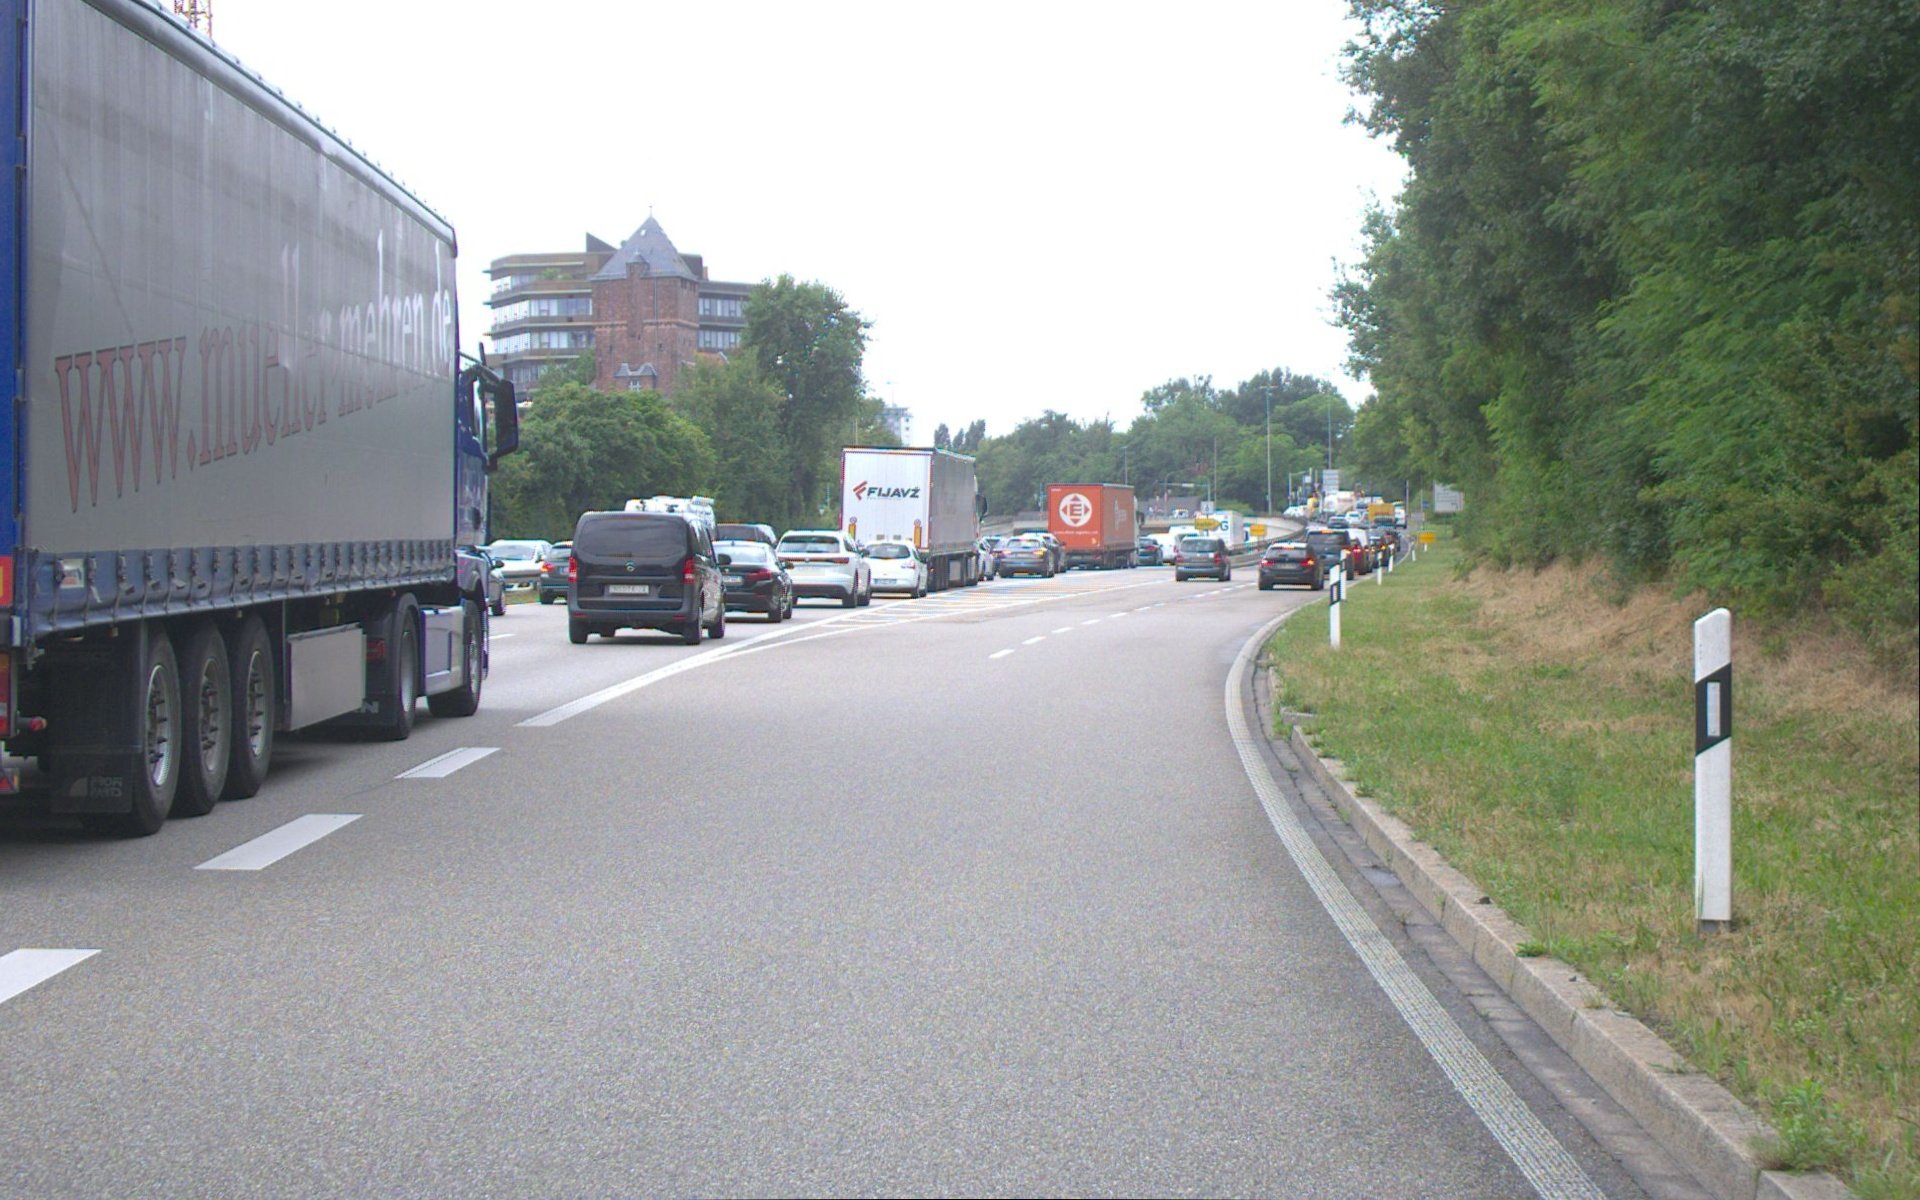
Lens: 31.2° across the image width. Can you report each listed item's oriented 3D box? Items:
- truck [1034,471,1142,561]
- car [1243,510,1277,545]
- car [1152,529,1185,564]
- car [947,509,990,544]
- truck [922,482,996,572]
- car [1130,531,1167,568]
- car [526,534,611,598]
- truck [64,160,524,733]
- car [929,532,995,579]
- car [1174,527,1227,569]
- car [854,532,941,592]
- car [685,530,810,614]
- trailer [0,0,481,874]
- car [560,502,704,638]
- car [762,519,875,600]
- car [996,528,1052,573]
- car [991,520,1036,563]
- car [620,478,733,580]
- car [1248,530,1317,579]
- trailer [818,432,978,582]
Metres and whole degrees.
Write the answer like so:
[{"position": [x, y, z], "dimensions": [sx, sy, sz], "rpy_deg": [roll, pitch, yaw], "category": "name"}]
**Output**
[{"position": [6.183, -3.987, 163.812], "dimensions": [3.491, 4.059, 13.587], "rpy_deg": [0, 1, 9], "category": "truck"}, {"position": [17.293, -4.151, 198.033], "dimensions": [1.951, 2.007, 3.999], "rpy_deg": [0, 1, 6], "category": "car"}, {"position": [12.050, -3.078, 198.578], "dimensions": [1.615, 1.941, 3.704], "rpy_deg": [1, 1, 8], "category": "car"}, {"position": [0.494, -4.286, 200.098], "dimensions": [1.994, 2.007, 3.999], "rpy_deg": [0, 1, 8], "category": "car"}, {"position": [0.026, -3.412, 164.568], "dimensions": [2.739, 4.124, 10.696], "rpy_deg": [1, 1, 4], "category": "truck"}, {"position": [10.310, -2.749, 187.735], "dimensions": [1.615, 1.941, 3.704], "rpy_deg": [1, 1, 9], "category": "car"}, {"position": [-8.674, -0.757, 76.399], "dimensions": [1.441, 1.382, 3.047], "rpy_deg": [1, 1, 2], "category": "car"}, {"position": [-5.156, -1.123, 27.769], "dimensions": [2.561, 4.029, 6.590], "rpy_deg": [1, 1, -2], "category": "truck"}, {"position": [0.077, -1.543, 120.221], "dimensions": [1.800, 1.598, 4.256], "rpy_deg": [1, 1, 7], "category": "car"}, {"position": [8.613, -1.867, 122.830], "dimensions": [1.825, 1.477, 4.000], "rpy_deg": [0, 1, 5], "category": "car"}, {"position": [-1.574, -0.990, 88.010], "dimensions": [1.764, 1.473, 4.088], "rpy_deg": [0, 1, 6], "category": "car"}, {"position": [-3.875, -0.518, 63.273], "dimensions": [1.847, 1.455, 4.831], "rpy_deg": [1, 1, 2], "category": "car"}, {"position": [-5.121, -0.992, 20.632], "dimensions": [2.626, 4.009, 13.464], "rpy_deg": [1, 1, 0], "category": "trailer"}, {"position": [-4.749, -0.450, 50.369], "dimensions": [1.987, 1.891, 4.986], "rpy_deg": [0, 1, -4], "category": "car"}, {"position": [-3.109, -0.894, 76.462], "dimensions": [1.957, 1.689, 4.865], "rpy_deg": [1, 1, 4], "category": "car"}, {"position": [2.441, -1.864, 130.298], "dimensions": [1.718, 1.678, 3.999], "rpy_deg": [1, 1, 7], "category": "car"}, {"position": [2.538, -2.768, 163.204], "dimensions": [1.818, 2.007, 3.999], "rpy_deg": [0, 1, 5], "category": "car"}, {"position": [-7.268, -1.830, 88.578], "dimensions": [1.994, 2.545, 5.361], "rpy_deg": [0, 1, 5], "category": "car"}, {"position": [9.889, -1.399, 105.142], "dimensions": [1.826, 1.477, 3.999], "rpy_deg": [0, 1, 9], "category": "car"}, {"position": [-1.670, -2.591, 100.299], "dimensions": [3.299, 4.022, 13.096], "rpy_deg": [1, 1, 5], "category": "trailer"}]
